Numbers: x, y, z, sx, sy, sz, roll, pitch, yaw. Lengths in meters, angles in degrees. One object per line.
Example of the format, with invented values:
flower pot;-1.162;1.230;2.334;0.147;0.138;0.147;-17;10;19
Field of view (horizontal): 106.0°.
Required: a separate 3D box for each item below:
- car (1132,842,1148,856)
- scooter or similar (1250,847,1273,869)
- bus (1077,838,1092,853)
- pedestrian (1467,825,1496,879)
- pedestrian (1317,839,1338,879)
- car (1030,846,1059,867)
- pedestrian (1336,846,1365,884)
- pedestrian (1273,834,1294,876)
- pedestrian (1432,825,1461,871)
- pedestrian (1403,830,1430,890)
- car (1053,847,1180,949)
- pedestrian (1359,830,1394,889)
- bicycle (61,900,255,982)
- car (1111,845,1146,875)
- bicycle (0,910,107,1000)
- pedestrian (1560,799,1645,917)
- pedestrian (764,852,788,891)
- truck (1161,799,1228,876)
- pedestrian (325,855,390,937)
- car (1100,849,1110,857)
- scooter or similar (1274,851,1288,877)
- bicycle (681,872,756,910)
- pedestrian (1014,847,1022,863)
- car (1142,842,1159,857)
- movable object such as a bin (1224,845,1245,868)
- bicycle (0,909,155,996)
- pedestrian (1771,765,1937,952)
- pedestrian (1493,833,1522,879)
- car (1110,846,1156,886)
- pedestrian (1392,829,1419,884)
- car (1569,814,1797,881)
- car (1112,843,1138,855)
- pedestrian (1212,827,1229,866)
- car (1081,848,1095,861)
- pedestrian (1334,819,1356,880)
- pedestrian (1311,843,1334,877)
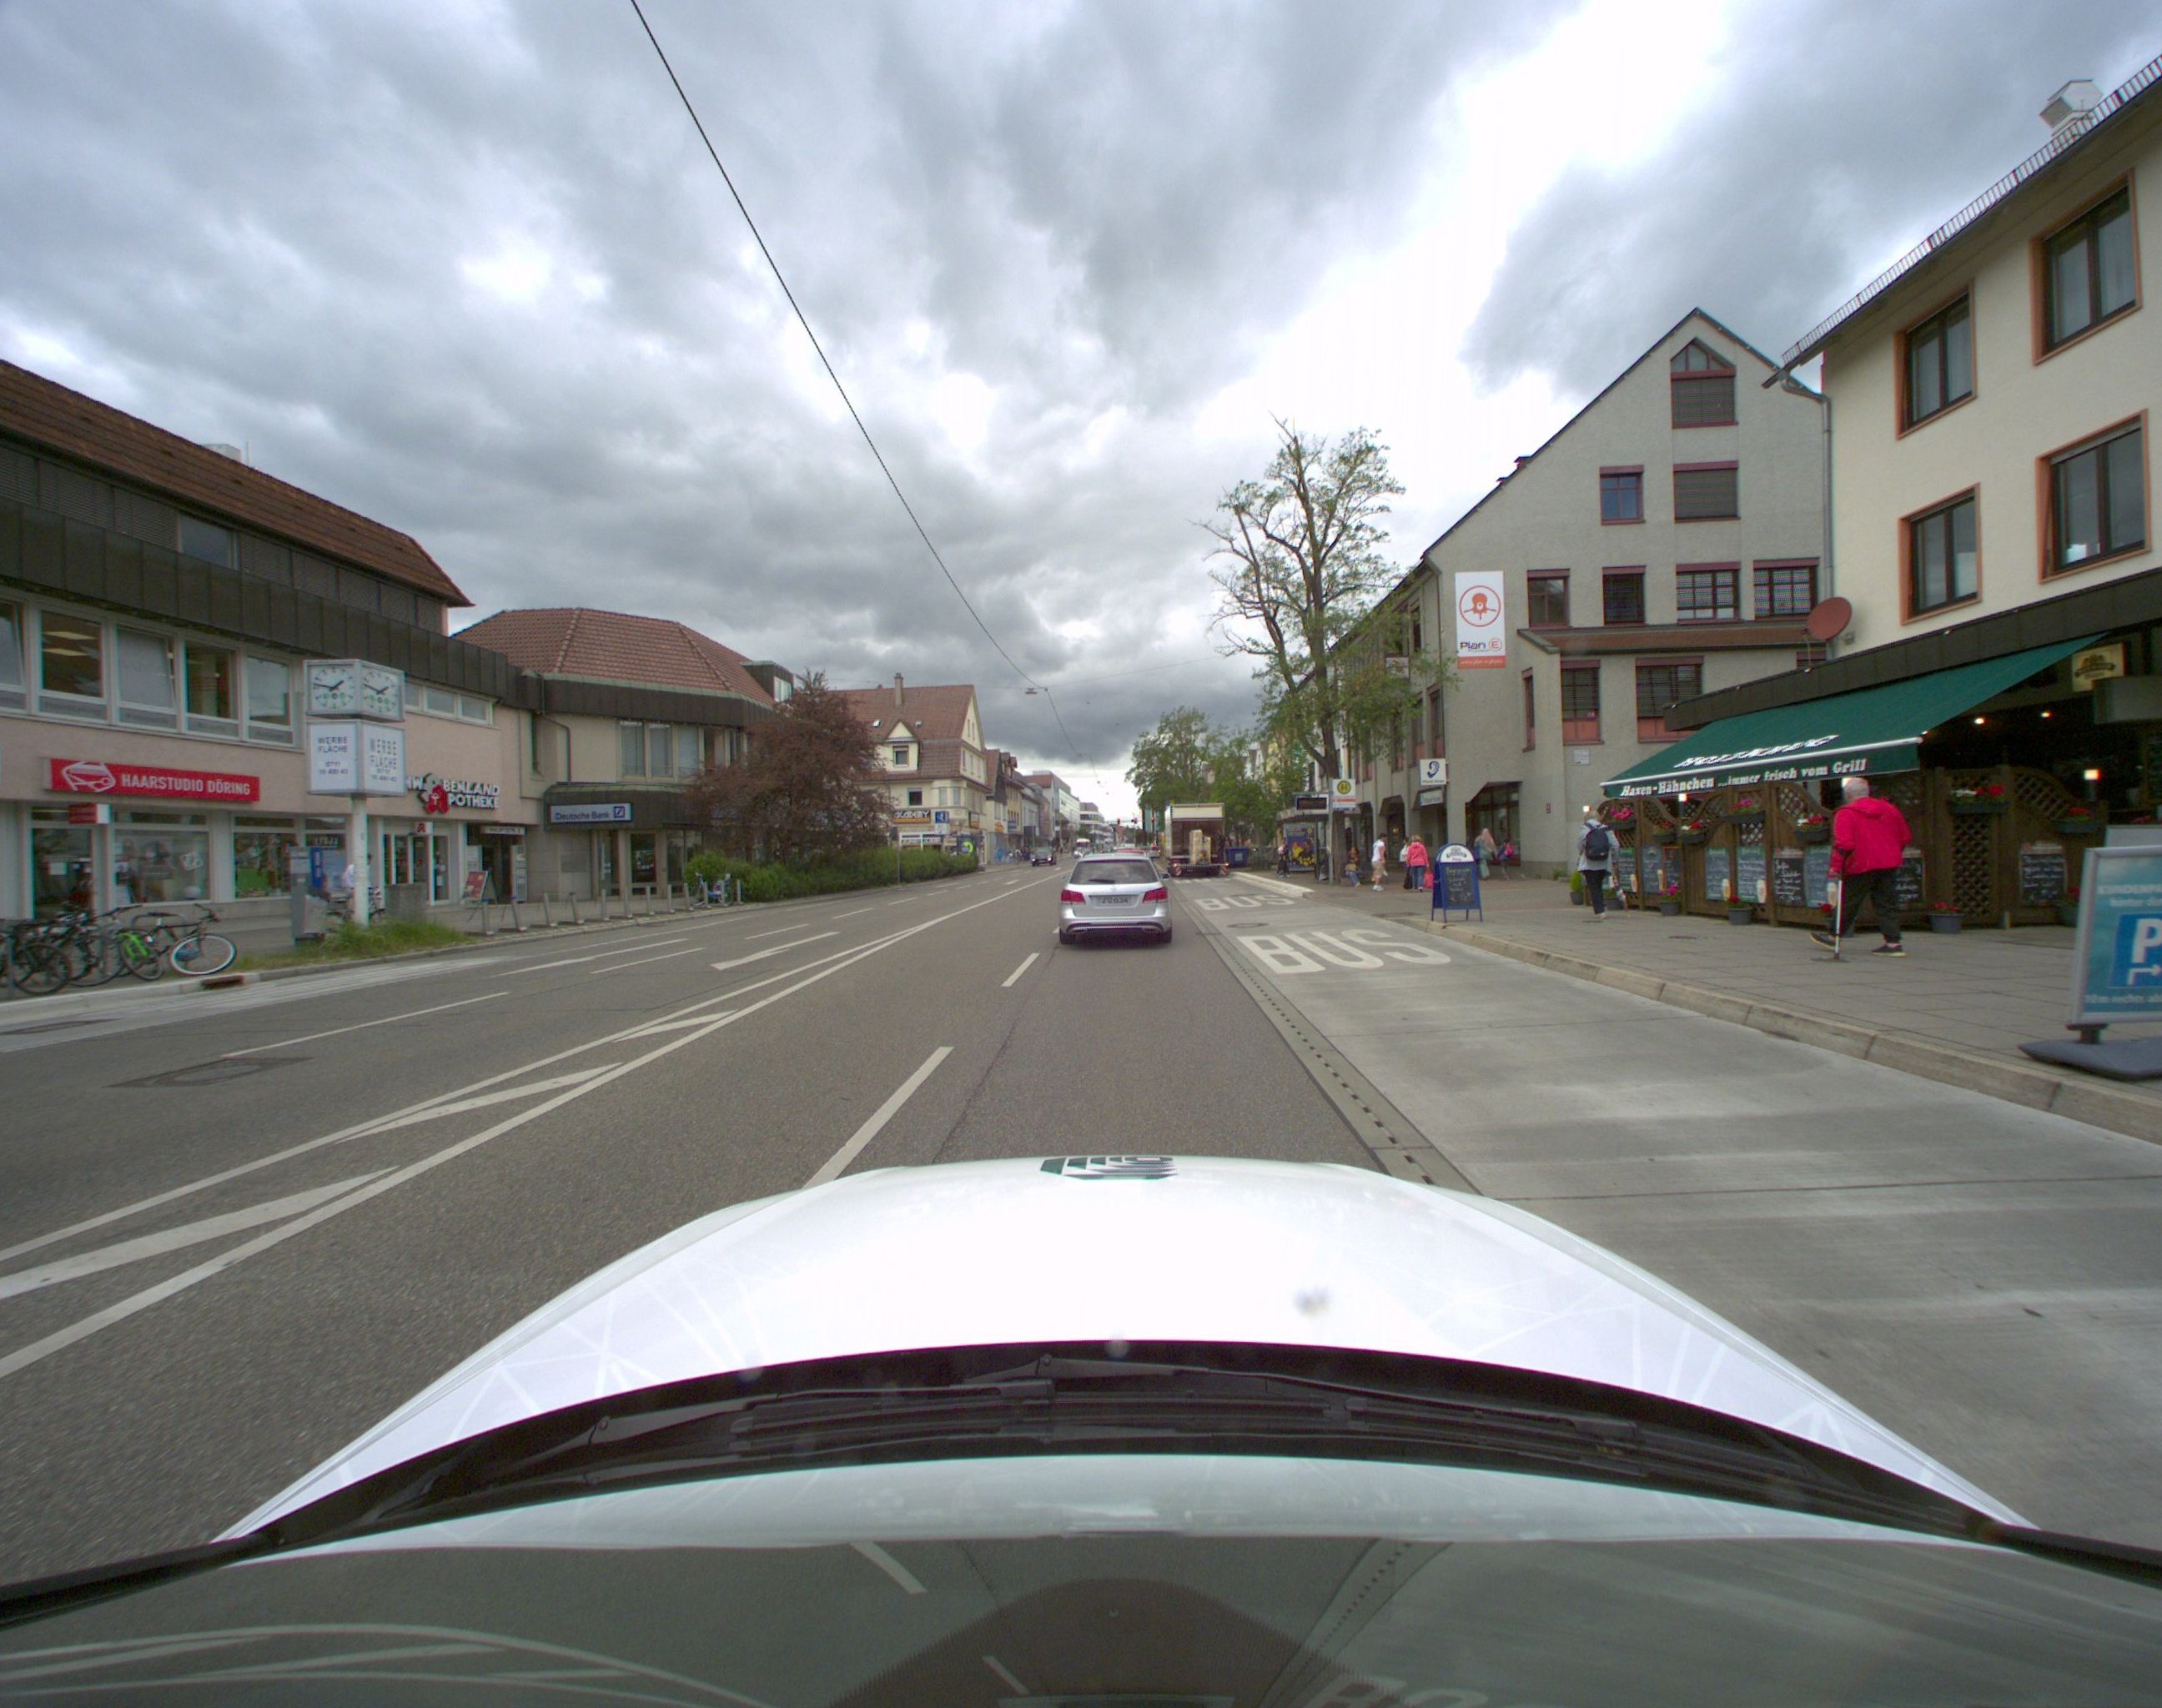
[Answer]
car;7.865;-0.647;107.935;1.984;1.684;4.005;-2;0;4
scooter or similar;10.216;0.199;46.124;1.174;1.196;0.459;-2;0;-6
bus;0.846;-1.890;185.013;2.763;3.165;5.940;-2;0;4
pedestrian;12.421;-0.073;25.257;0.583;1.634;0.616;-2;0;5
pedestrian;8.839;0.168;29.196;0.608;1.401;0.590;-4;-1;17
car;-3.369;0.223;76.374;2.059;1.738;4.699;-4;0;5
pedestrian;8.477;0.346;25.652;0.710;1.166;0.587;-1;1;-3
pedestrian;7.905;0.027;31.849;0.536;1.634;0.584;1;1;-21
pedestrian;13.234;-0.209;29.489;0.724;1.634;0.614;-2;0;-5
pedestrian;9.034;0.155;21.930;0.666;1.567;0.494;0;2;24
car;0.606;0.651;14.231;1.867;1.506;4.002;-1;0;2
pedestrian;8.388;0.152;23.151;0.613;1.634;0.791;-2;1;-9
bicycle;-14.020;1.303;12.417;2.015;1.090;0.648;-2;0;-6
car;2.916;0.349;49.791;1.984;1.684;4.005;-2;0;4
bicycle;-14.499;1.361;10.854;2.015;1.090;0.648;-2;0;-6
pedestrian;8.098;0.061;12.677;0.680;1.742;0.781;-4;-1;-2
pedestrian;-14.130;0.808;37.736;0.722;1.764;0.757;2;1;8
truck;5.836;-0.824;43.258;2.677;3.561;9.777;-2;1;4
pedestrian;-16.025;0.911;18.052;0.723;1.764;0.756;1;1;1
car;4.350;-0.151;149.225;1.609;1.428;3.928;-2;0;5
scooter or similar;7.724;0.385;31.442;0.387;0.959;0.351;-3;0;-37
bicycle;-11.456;1.152;25.776;2.015;1.090;0.648;-2;0;-6
pedestrian;-6.395;0.118;82.862;0.814;1.634;0.980;0;0;-2
car;8.226;-0.512;96.843;1.984;1.684;4.005;-2;0;4
movable object such as a bin;9.296;0.150;49.368;1.138;1.339;1.378;-2;0;6
bicycle;-14.632;1.396;11.558;2.015;1.090;0.648;-2;0;-6
pedestrian;7.740;0.047;8.198;0.793;1.742;0.781;-4;-1;-2
pedestrian;13.015;0.071;24.869;0.583;1.375;0.616;-1;0;6
car;2.182;0.460;33.969;1.747;1.521;4.004;-2;0;4
pedestrian;9.909;0.066;24.898;0.609;1.634;0.589;-1;0;8
car;15.976;-0.161;21.846;4.579;1.619;1.884;-1;0;7
car;8.507;-0.984;157.549;1.943;1.960;5.171;-3;0;44
pedestrian;6.451;-0.343;37.604;0.611;1.780;0.588;-2;-1;0
car;0.868;0.081;95.176;1.564;1.540;2.961;0;0;1
pedestrian;9.131;-0.158;28.170;0.608;2.047;0.590;-4;-1;17
pedestrian;9.046;0.214;30.494;0.695;1.232;0.590;-4;0;13
